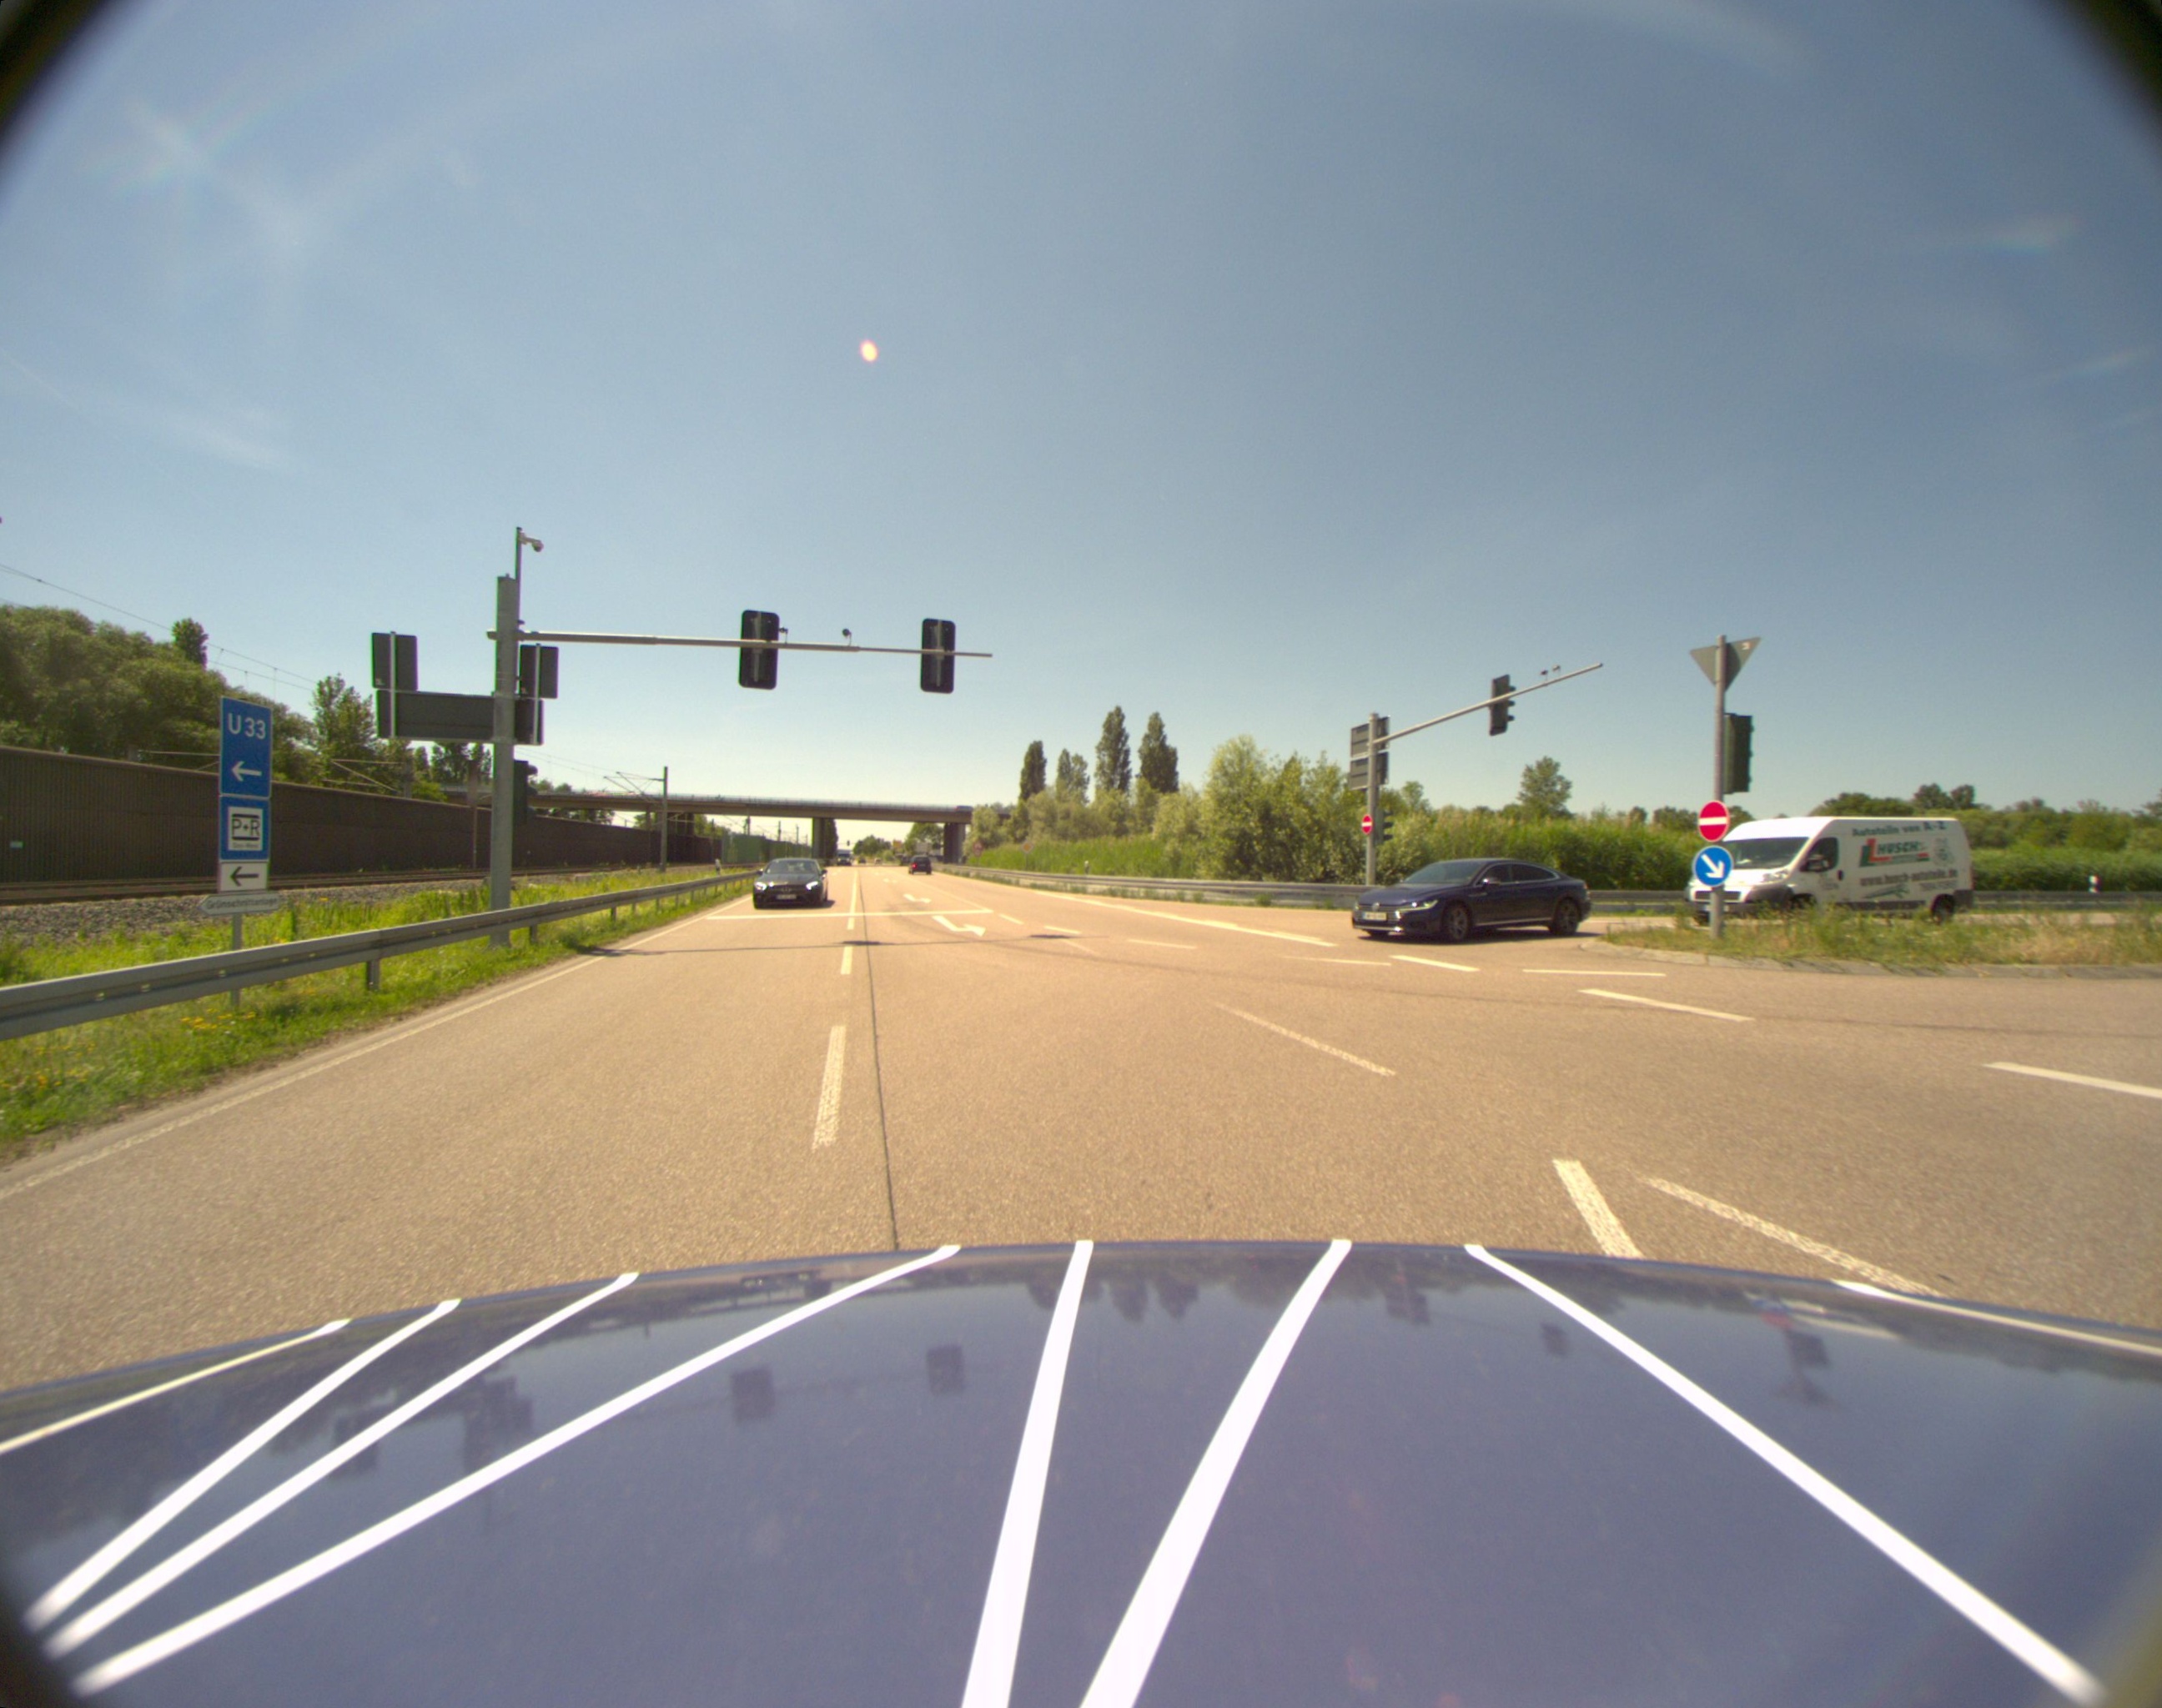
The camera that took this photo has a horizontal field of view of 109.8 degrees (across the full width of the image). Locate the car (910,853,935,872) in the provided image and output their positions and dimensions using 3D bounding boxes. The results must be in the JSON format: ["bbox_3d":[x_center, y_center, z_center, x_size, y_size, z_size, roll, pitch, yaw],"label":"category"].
[{"bbox_3d":[-13.393,0.709,63.978,1.645,1.587,3.555,0,0,-18],"label":"car"}]

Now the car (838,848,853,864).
[{"bbox_3d":[-36.233,0.275,116.938,1.914,2.427,4.641,-1,0,-15],"label":"car"}]

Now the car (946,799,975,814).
[{"bbox_3d":[-20.179,-7.982,127.458,4.649,2.427,1.911,0,0,-11],"label":"car"}]

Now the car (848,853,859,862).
[{"bbox_3d":[-43.850,0.625,146.469,1.845,1.680,3.994,1,0,-16],"label":"car"}]

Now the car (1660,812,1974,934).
[{"bbox_3d":[16.524,0.469,17.149,5.985,2.480,2.227,1,-1,-13],"label":"car"}]

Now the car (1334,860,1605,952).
[{"bbox_3d":[7.015,0.838,13.689,4.568,1.414,1.845,0,0,-23],"label":"car"}]

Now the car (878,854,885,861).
[{"bbox_3d":[-46.223,0.737,176.291,1.591,1.553,3.682,-1,0,-15],"label":"car"}]

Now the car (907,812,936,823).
[{"bbox_3d":[-27.216,-6.159,129.684,4.649,1.780,1.911,0,0,-12],"label":"car"}]

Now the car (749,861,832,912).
[{"bbox_3d":[-8.747,0.906,23.258,1.914,1.356,4.641,-1,0,-15],"label":"car"}]
